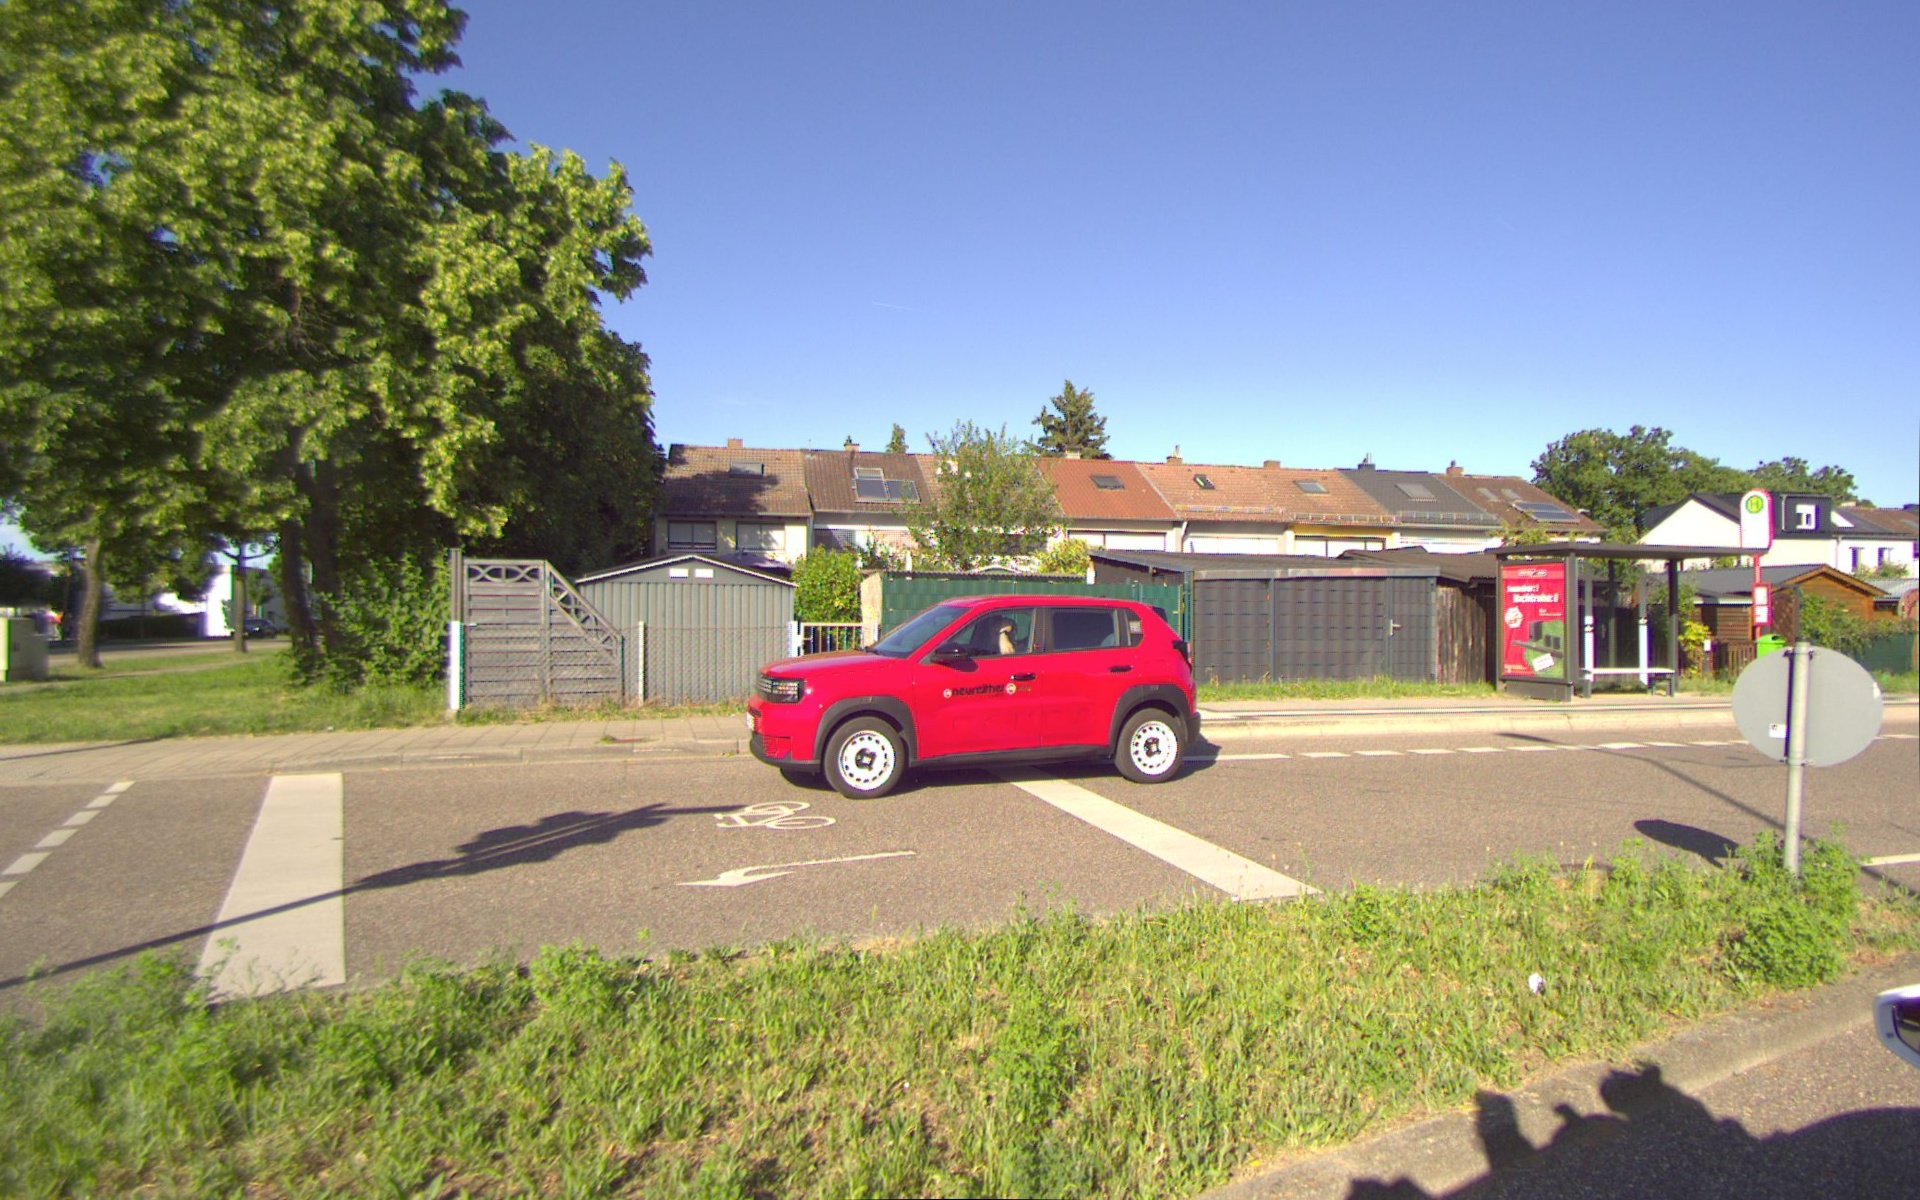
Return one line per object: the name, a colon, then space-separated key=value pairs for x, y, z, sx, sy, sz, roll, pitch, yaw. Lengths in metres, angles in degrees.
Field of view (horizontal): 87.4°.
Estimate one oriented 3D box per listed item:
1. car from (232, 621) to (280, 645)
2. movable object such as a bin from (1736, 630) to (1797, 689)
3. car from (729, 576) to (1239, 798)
car: x=-47.904 y=2.211 z=68.418 sx=1.658 sy=1.555 sz=3.982 roll=0 pitch=-1 yaw=-20
movable object such as a bin: x=14.372 y=1.046 z=17.910 sx=0.549 sy=0.981 sz=0.592 roll=0 pitch=3 yaw=-18
car: x=0.144 y=0.666 z=8.890 sx=4.115 sy=1.610 sz=1.938 roll=1 pitch=-1 yaw=-18
